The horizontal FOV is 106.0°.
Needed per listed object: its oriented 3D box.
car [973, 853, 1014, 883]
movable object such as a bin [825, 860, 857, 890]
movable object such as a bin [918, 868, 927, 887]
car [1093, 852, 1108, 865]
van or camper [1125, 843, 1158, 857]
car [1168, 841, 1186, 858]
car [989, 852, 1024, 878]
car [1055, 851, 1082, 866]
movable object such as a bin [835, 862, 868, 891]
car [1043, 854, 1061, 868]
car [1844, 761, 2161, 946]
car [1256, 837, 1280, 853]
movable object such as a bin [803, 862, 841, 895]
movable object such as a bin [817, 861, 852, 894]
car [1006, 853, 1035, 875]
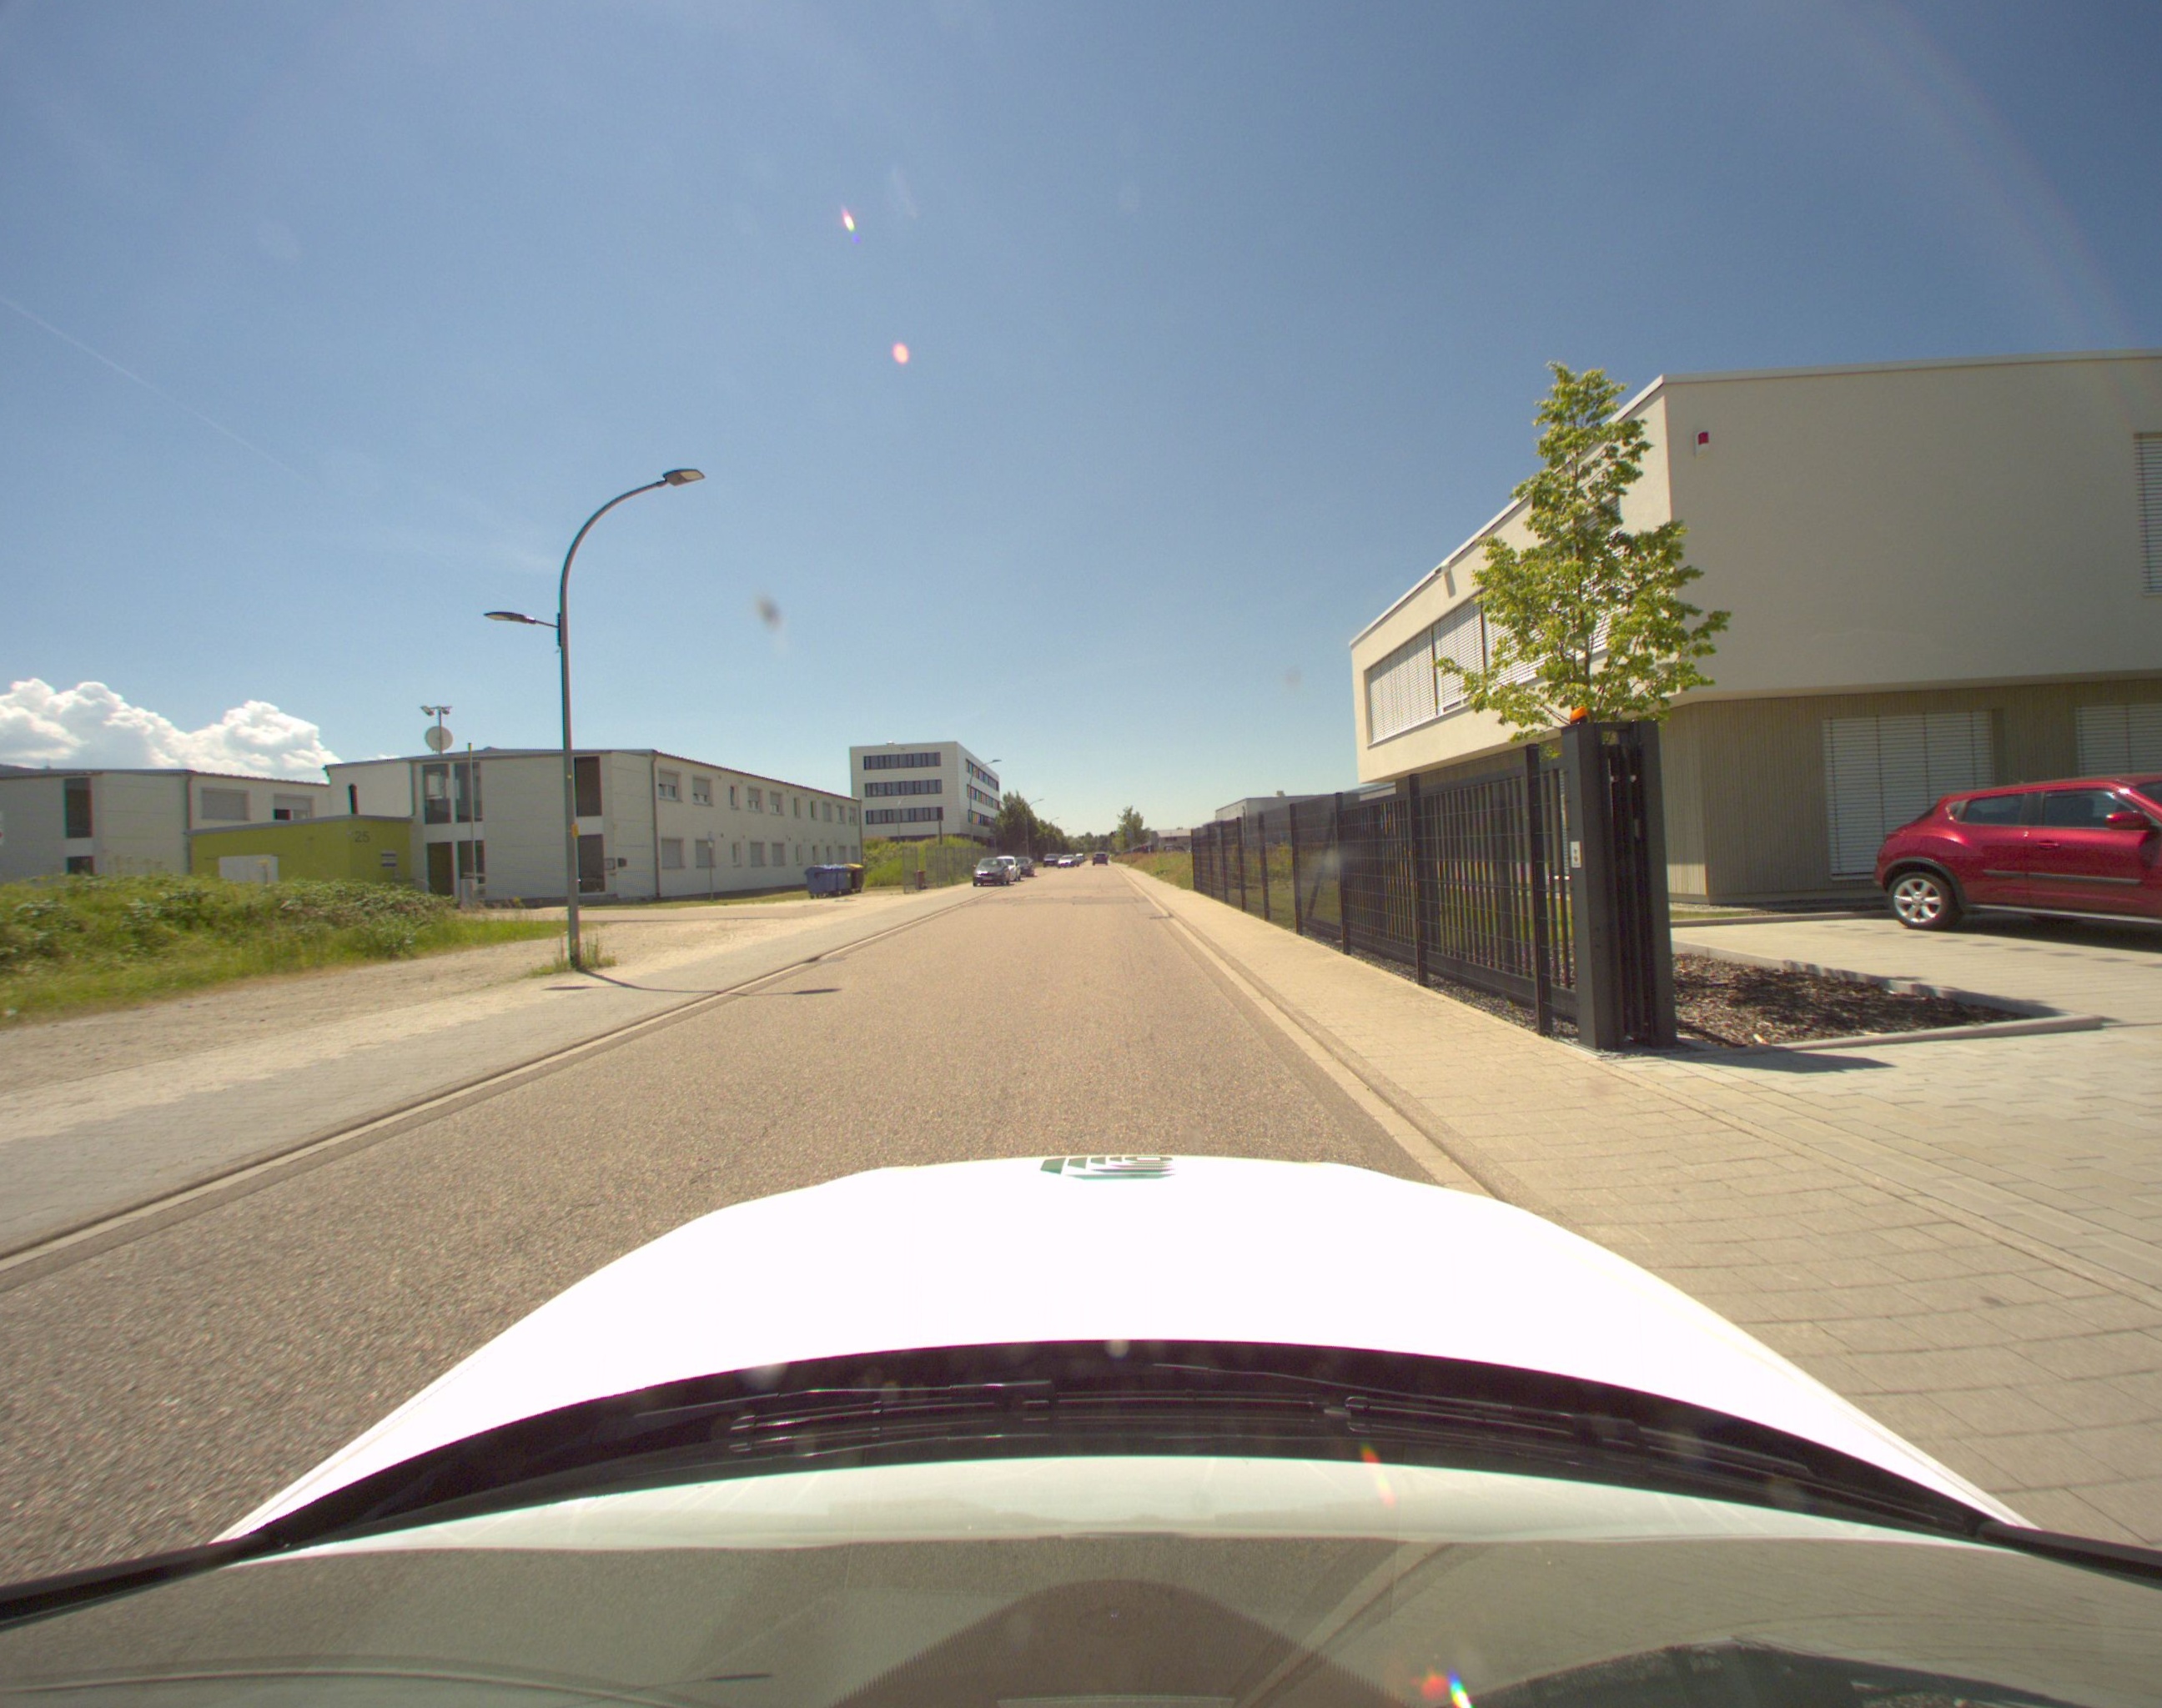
[{"bbox_3d":[-4.695,0.747,44.088,1.668,1.530,3.910,-2,0,1],"label":"car"},{"bbox_3d":[-11.771,1.018,39.972,1.084,1.448,1.389,-2,-1,0],"label":"movable object such as a bin"},{"bbox_3d":[-7.868,1.161,40.400,0.303,0.940,0.497,-2,-1,4],"label":"movable object such as a bin"},{"bbox_3d":[2.384,0.544,98.977,1.783,1.623,3.809,-1,0,1],"label":"car"},{"bbox_3d":[12.554,-0.827,169.513,6.735,2.585,2.635,-3,-1,0],"label":"van or camper"},{"bbox_3d":[9.349,-0.414,79.381,1.461,1.574,2.662,-3,-1,1],"label":"car"},{"bbox_3d":[-4.584,0.671,50.355,1.668,1.530,3.758,-2,0,1],"label":"car"},{"bbox_3d":[-1.423,0.446,92.548,1.757,1.588,4.095,-3,0,17],"label":"car"},{"bbox_3d":[-11.667,1.115,41.410,1.137,1.405,1.389,-2,-1,3],"label":"movable object such as a bin"},{"bbox_3d":[-3.501,0.870,98.697,1.764,1.588,4.482,-3,0,1],"label":"car"},{"bbox_3d":[9.909,-0.057,7.613,1.664,1.557,4.076,-3,1,-2],"label":"car"},{"bbox_3d":[18.341,-0.853,80.017,1.509,1.397,3.540,-3,0,0],"label":"car"},{"bbox_3d":[-11.742,1.097,36.906,1.138,1.448,1.435,-2,-1,4],"label":"movable object such as a bin"},{"bbox_3d":[-11.651,1.098,38.550,1.119,1.448,1.373,-2,-1,4],"label":"movable object such as a bin"},{"bbox_3d":[-4.346,0.733,59.363,1.668,1.450,4.070,-2,0,1],"label":"car"}]
